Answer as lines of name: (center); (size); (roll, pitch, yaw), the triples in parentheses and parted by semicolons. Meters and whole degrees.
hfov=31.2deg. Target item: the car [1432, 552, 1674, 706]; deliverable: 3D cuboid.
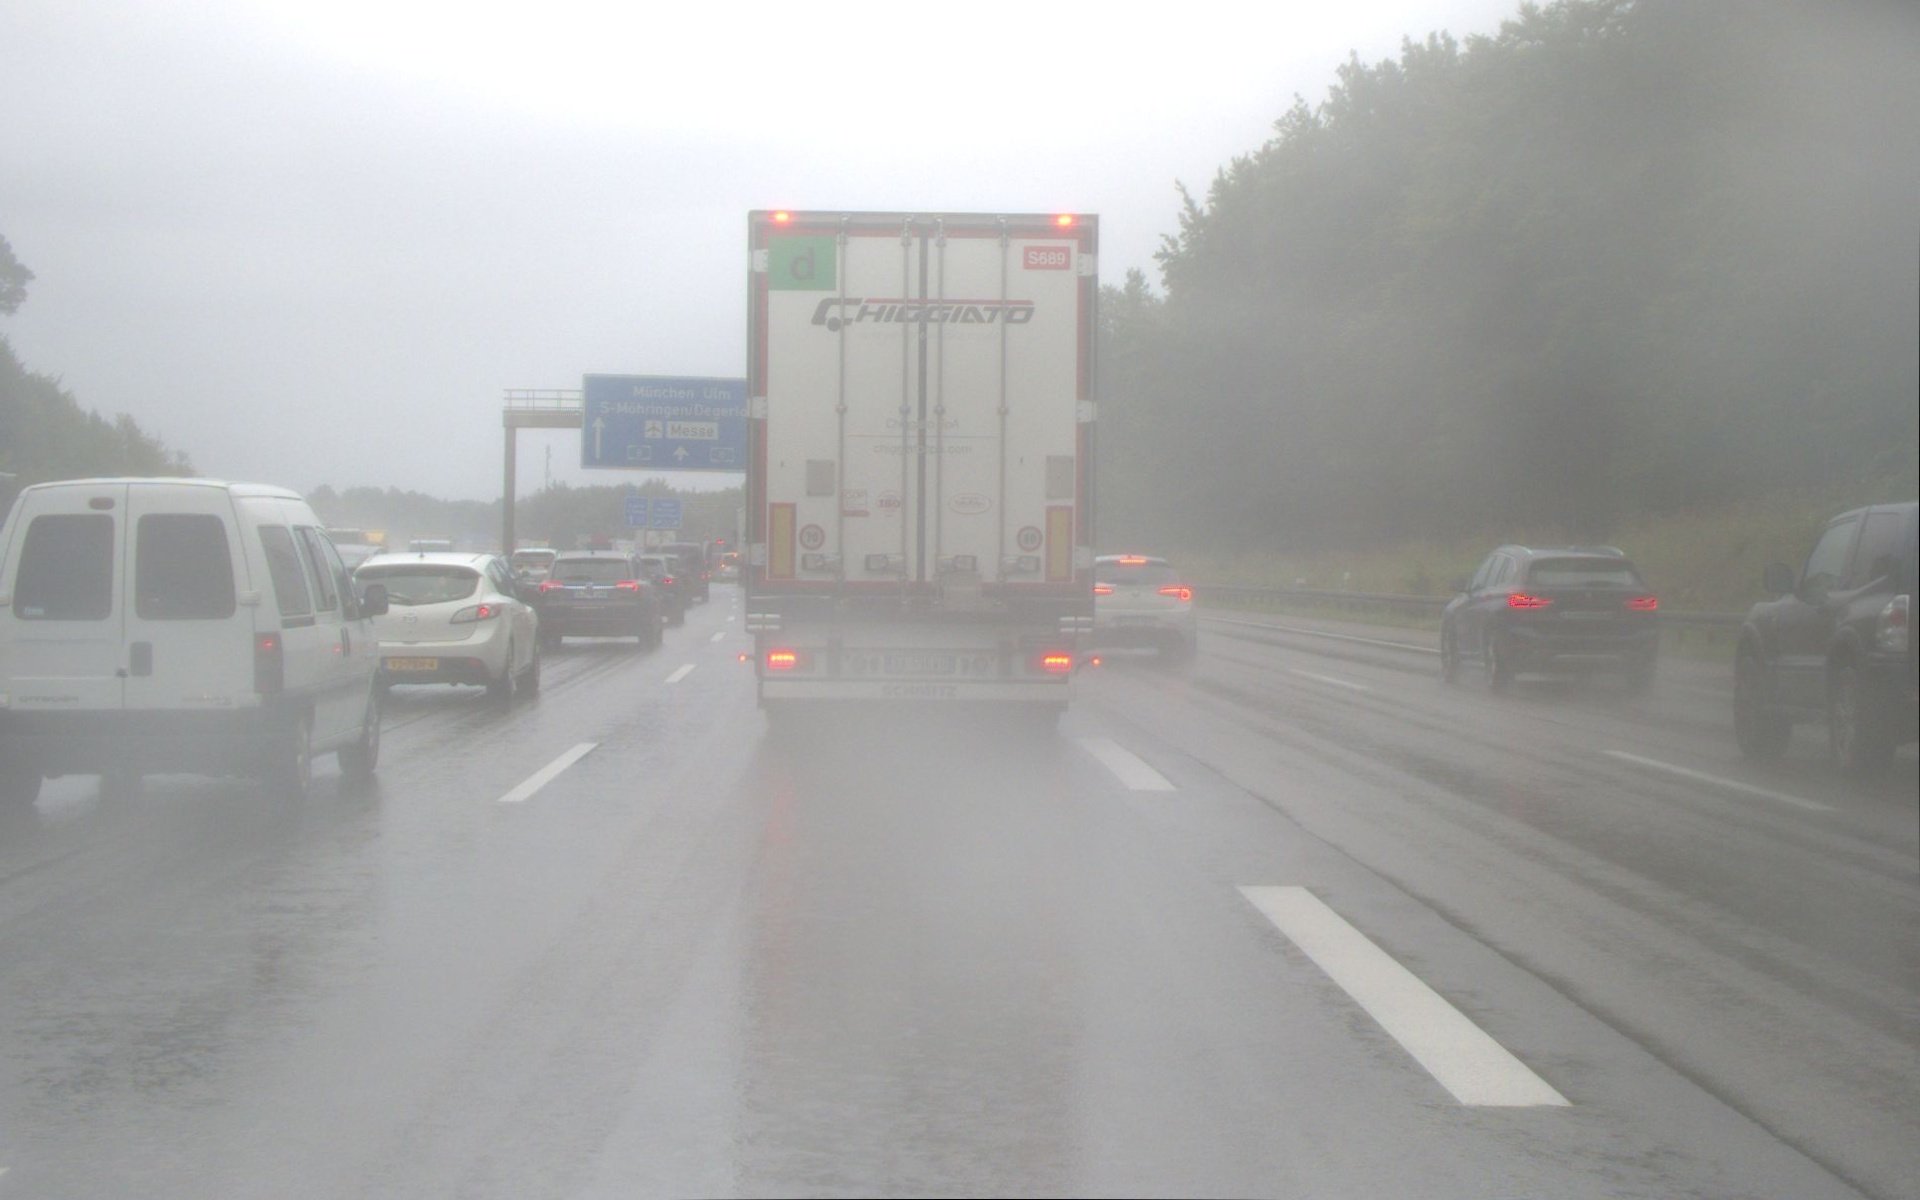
car: (6.649, 0.275, 39.057); (1.990, 1.578, 4.767); (1, 1, 1)

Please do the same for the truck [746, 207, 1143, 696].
truck: (-0.170, -1.139, 30.855); (2.872, 3.550, 11.302); (1, 1, -1)

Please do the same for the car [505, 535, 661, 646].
car: (-5.697, -0.182, 52.453); (1.845, 1.586, 4.467); (1, 1, 0)

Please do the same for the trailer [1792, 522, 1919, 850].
trailer: (6.167, 0.445, 18.665); (2.243, 1.709, 5.082); (1, 1, 2)

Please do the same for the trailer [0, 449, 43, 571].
trailer: (-31.399, -2.802, 106.374); (3.024, 3.805, 13.562); (0, 1, -3)

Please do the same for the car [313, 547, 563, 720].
car: (-5.142, 0.283, 34.363); (1.845, 1.586, 4.072); (1, 1, 0)

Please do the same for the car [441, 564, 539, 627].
car: (-10.635, -0.121, 78.021); (1.845, 1.326, 4.467); (1, 1, -3)

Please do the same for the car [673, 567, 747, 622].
car: (-6.556, -0.168, 90.376); (1.845, 1.326, 4.467); (1, 1, -3)

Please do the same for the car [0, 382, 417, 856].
car: (-4.722, 0.053, 21.216); (2.212, 2.564, 5.016); (1, 1, -3)

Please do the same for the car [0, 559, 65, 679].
car: (-13.672, 0.247, 46.699); (2.090, 1.499, 4.755); (-2, 1, -5)

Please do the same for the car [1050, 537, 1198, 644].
car: (2.273, -0.172, 48.646); (1.890, 1.420, 4.483); (1, 1, 0)
